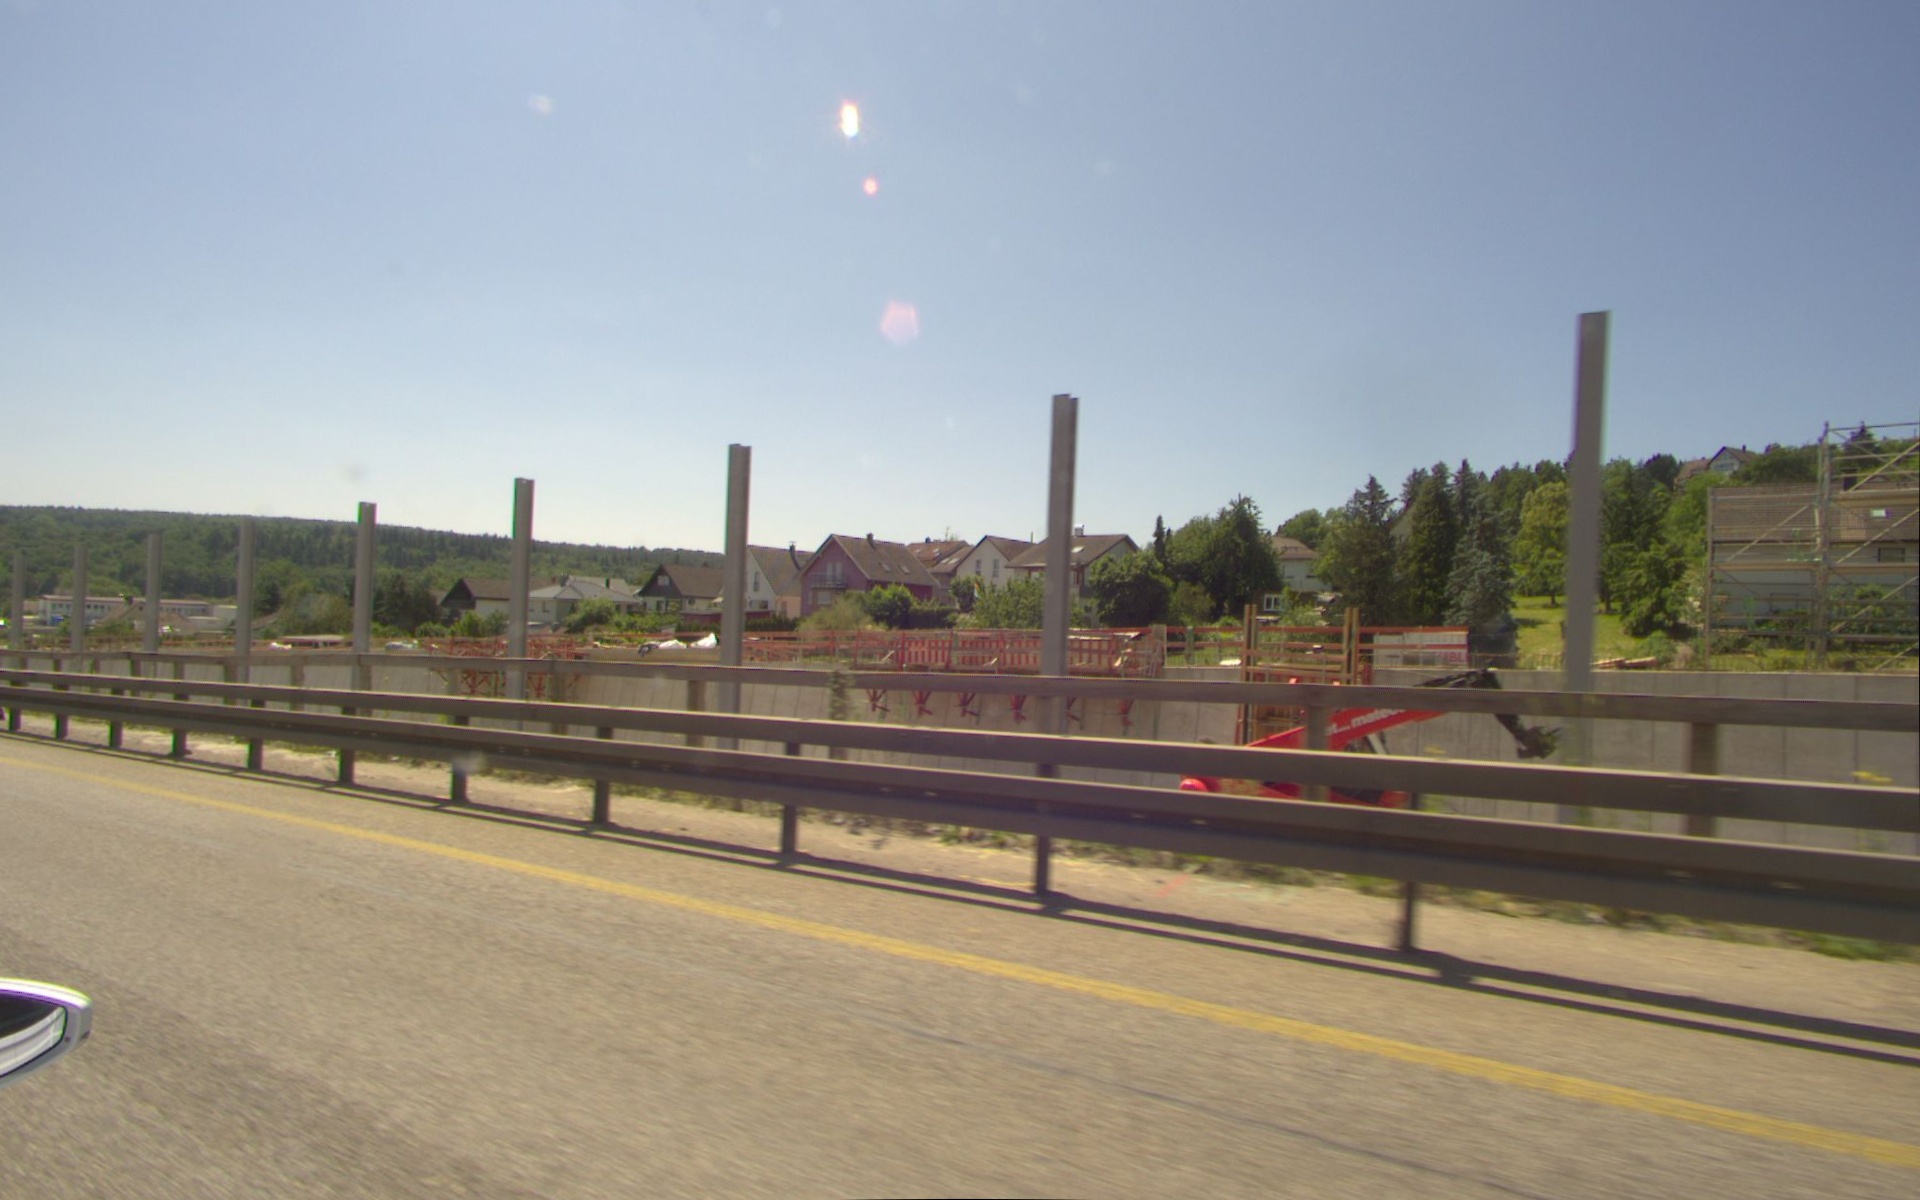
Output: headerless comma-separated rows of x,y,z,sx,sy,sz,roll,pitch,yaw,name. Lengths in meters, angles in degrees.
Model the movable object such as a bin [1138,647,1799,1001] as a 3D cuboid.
8.234,3.276,17.637,9.519,4.802,3.222,-2,-2,32,movable object such as a bin
